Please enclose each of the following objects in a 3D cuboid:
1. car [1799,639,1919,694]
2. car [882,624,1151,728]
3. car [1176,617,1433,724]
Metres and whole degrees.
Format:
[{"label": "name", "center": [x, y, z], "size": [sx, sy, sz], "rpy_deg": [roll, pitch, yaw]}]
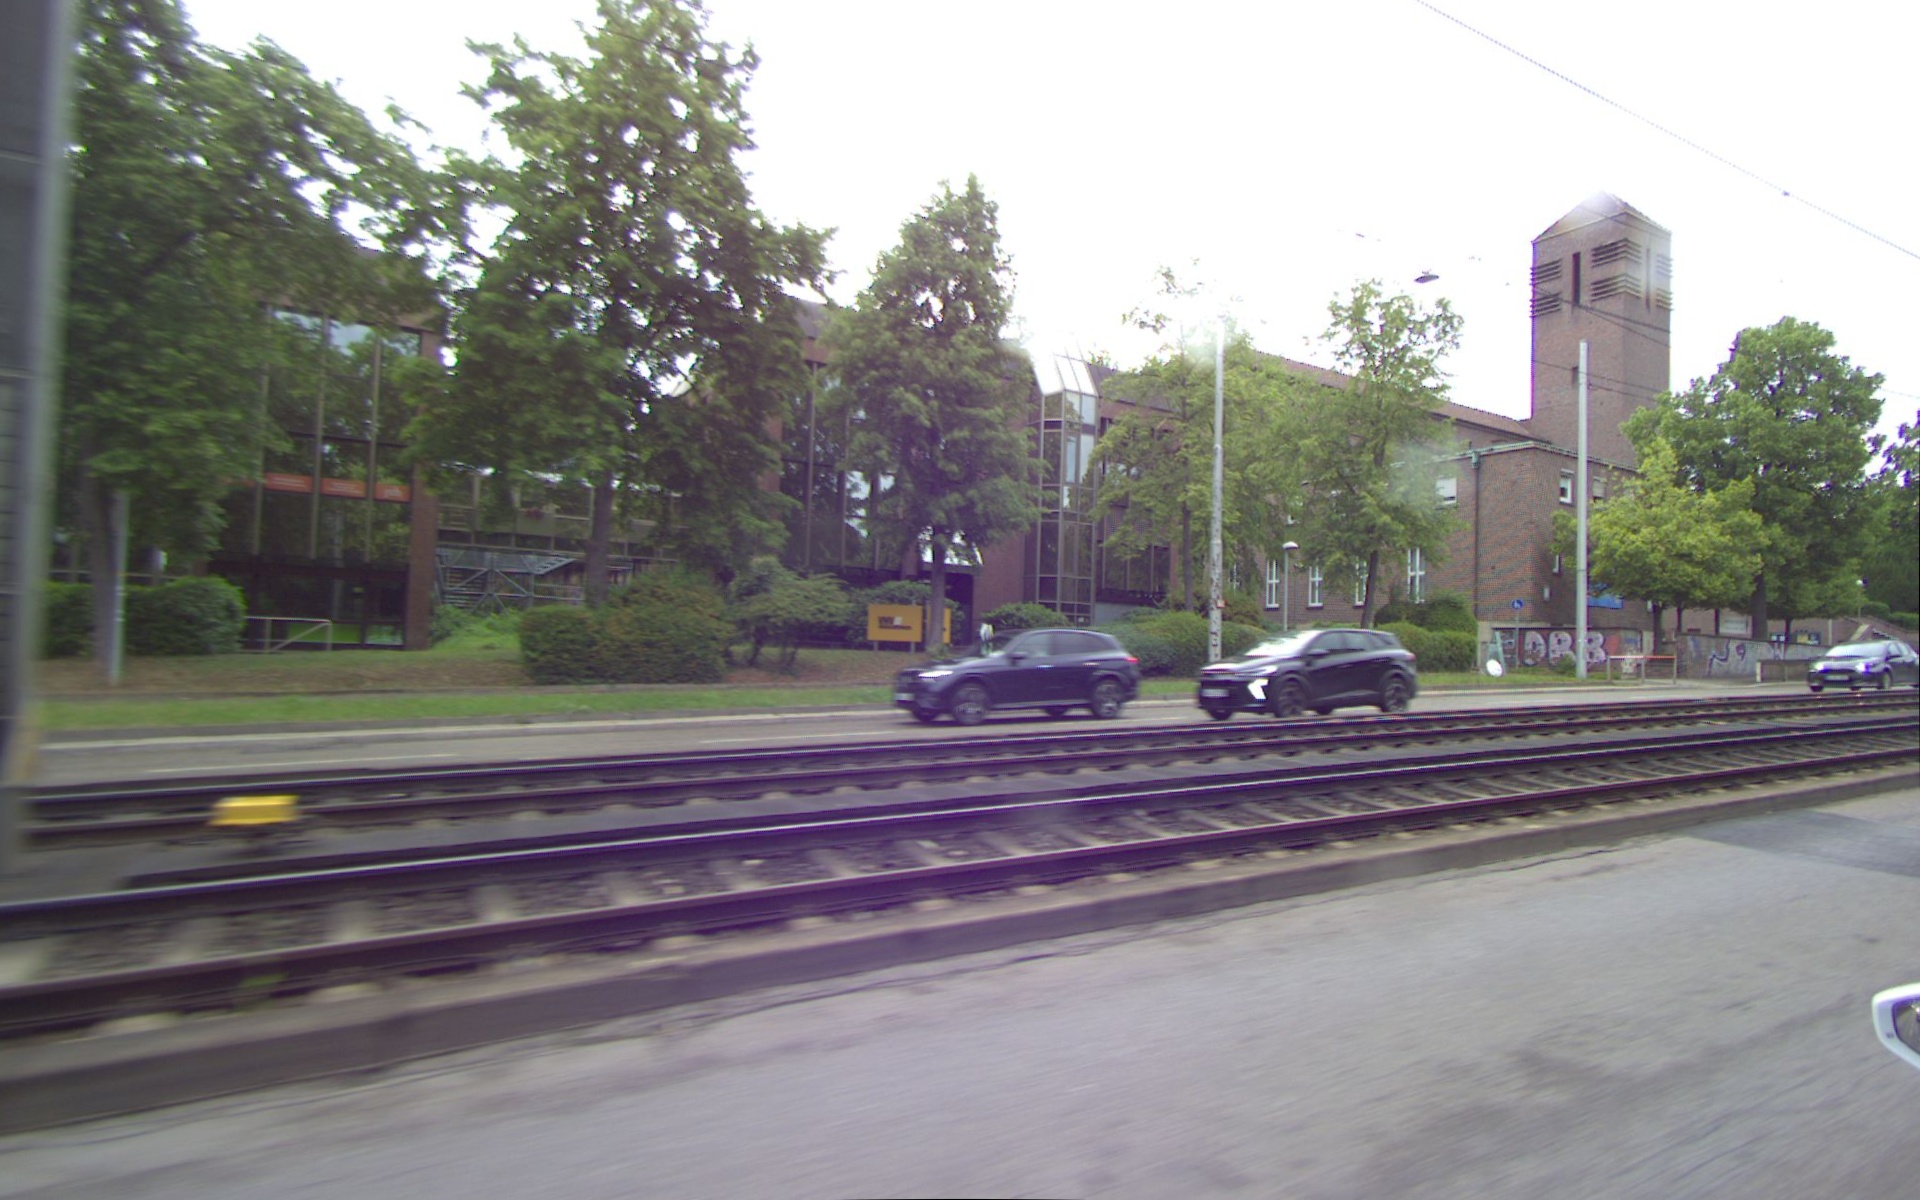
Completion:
[{"label": "car", "center": [26.270, 1.901, 29.227], "size": [3.564, 1.480, 1.674], "rpy_deg": [1, -2, -29]}, {"label": "car", "center": [1.064, 1.300, 18.247], "size": [4.562, 1.678, 2.003], "rpy_deg": [1, -2, -30]}, {"label": "car", "center": [6.046, 1.242, 17.601], "size": [4.185, 1.677, 1.829], "rpy_deg": [1, -6, -27]}]
